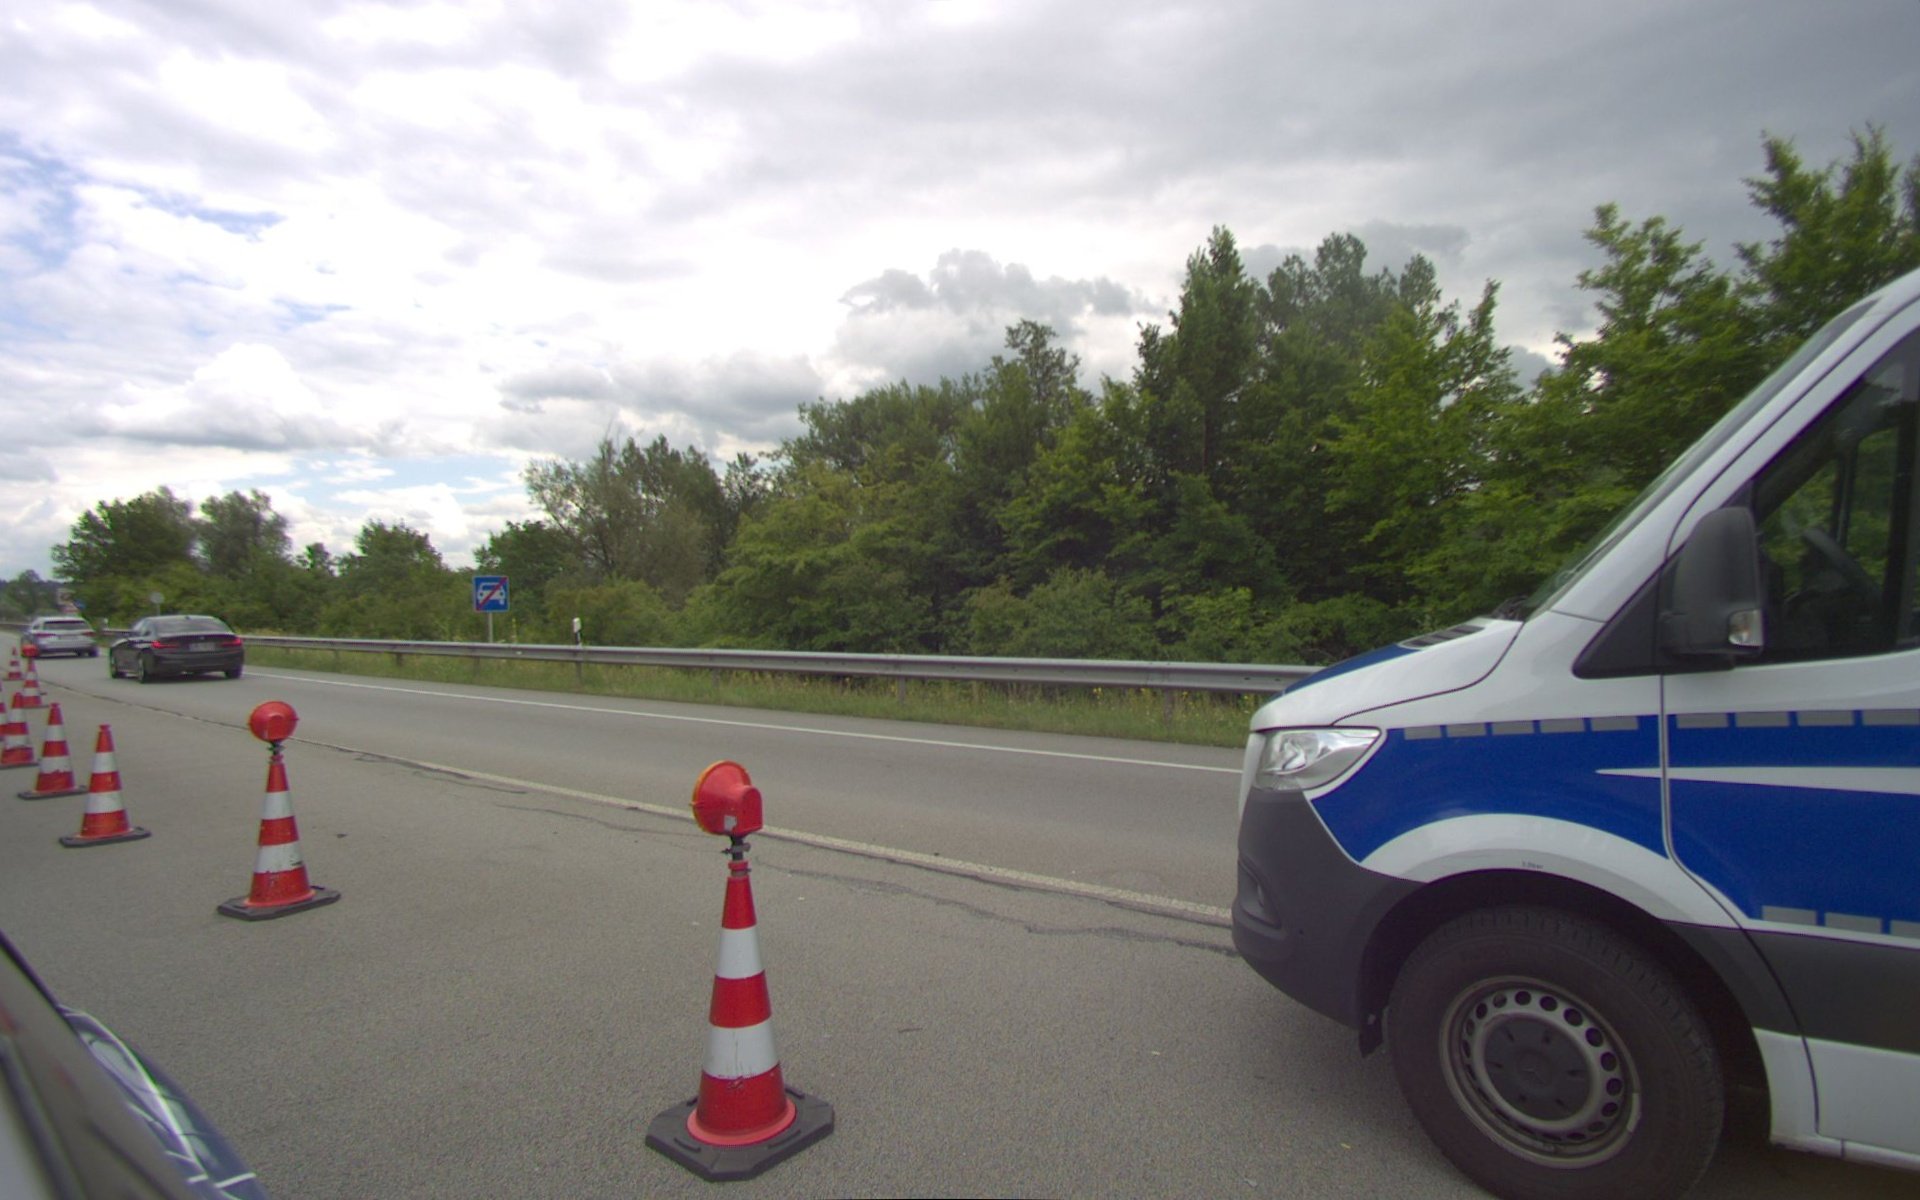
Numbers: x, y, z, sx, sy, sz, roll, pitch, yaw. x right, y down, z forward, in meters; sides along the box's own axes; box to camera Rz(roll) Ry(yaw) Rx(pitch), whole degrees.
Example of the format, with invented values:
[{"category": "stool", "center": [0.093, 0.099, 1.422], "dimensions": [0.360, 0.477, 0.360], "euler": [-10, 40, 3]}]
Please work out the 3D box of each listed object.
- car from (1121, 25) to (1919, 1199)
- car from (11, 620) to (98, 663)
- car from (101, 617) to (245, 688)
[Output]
[{"category": "car", "center": [3.166, 0.144, 2.112], "dimensions": [5.272, 2.482, 2.010], "euler": [-1, -1, 38]}, {"category": "car", "center": [-31.839, 1.414, 35.549], "dimensions": [4.370, 1.412, 1.662], "euler": [-1, -1, 39]}, {"category": "car", "center": [-17.926, 1.140, 22.988], "dimensions": [4.332, 1.447, 1.692], "euler": [-1, -1, 39]}]
